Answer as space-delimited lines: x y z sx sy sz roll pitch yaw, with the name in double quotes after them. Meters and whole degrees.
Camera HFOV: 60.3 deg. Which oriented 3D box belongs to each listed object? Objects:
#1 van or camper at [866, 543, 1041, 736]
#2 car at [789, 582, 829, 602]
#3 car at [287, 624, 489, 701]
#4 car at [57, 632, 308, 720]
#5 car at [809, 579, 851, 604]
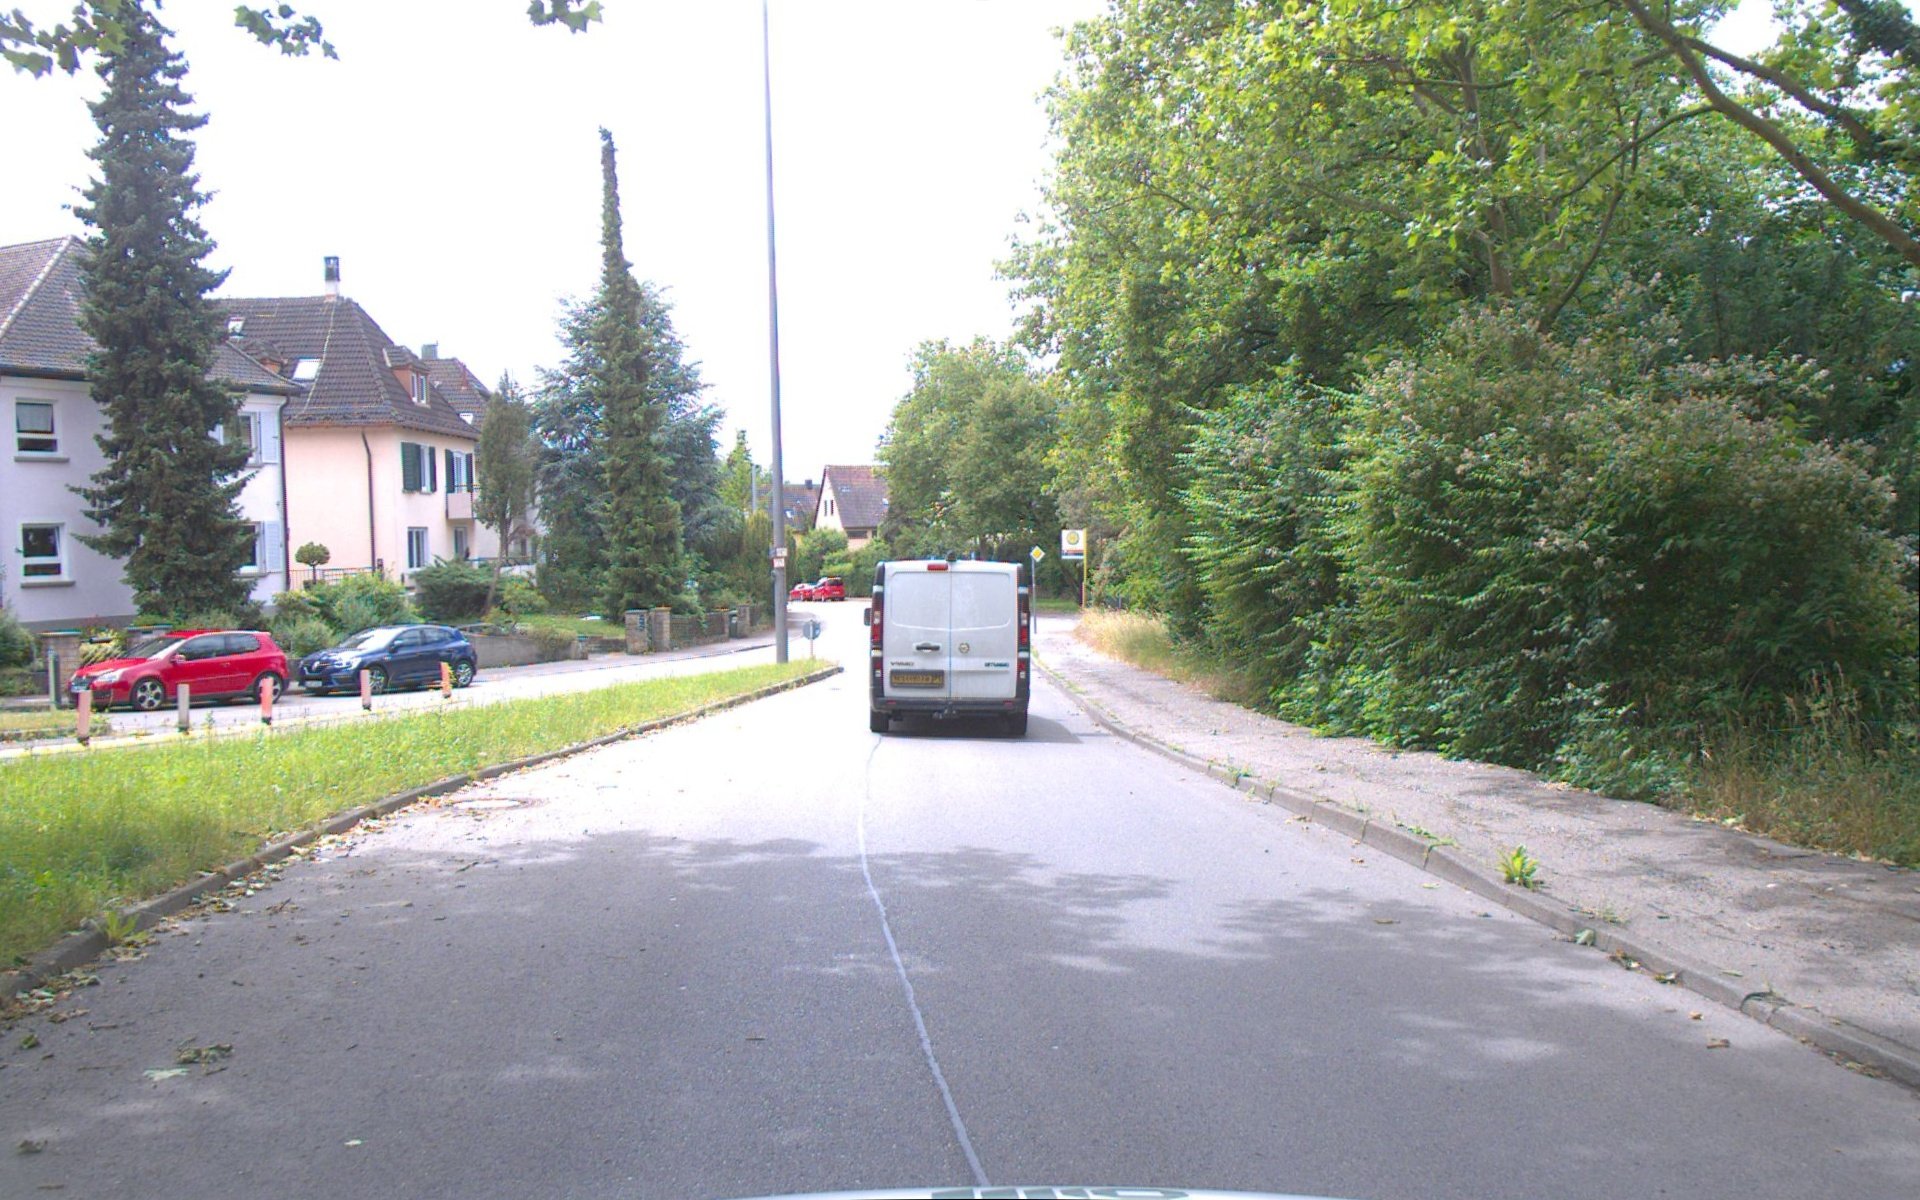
-0.078 0.347 20.420 1.885 2.048 4.830 -1 2 0 "van or camper"
-11.981 -0.658 131.277 1.692 1.493 4.231 -2 1 -27 "car"
-12.673 1.350 36.912 1.693 1.499 4.310 -1 0 26 "car"
-15.271 1.442 32.713 1.695 1.499 4.269 -1 0 31 "car"
-9.964 -0.655 126.157 1.737 1.828 4.914 -2 1 -23 "car"
